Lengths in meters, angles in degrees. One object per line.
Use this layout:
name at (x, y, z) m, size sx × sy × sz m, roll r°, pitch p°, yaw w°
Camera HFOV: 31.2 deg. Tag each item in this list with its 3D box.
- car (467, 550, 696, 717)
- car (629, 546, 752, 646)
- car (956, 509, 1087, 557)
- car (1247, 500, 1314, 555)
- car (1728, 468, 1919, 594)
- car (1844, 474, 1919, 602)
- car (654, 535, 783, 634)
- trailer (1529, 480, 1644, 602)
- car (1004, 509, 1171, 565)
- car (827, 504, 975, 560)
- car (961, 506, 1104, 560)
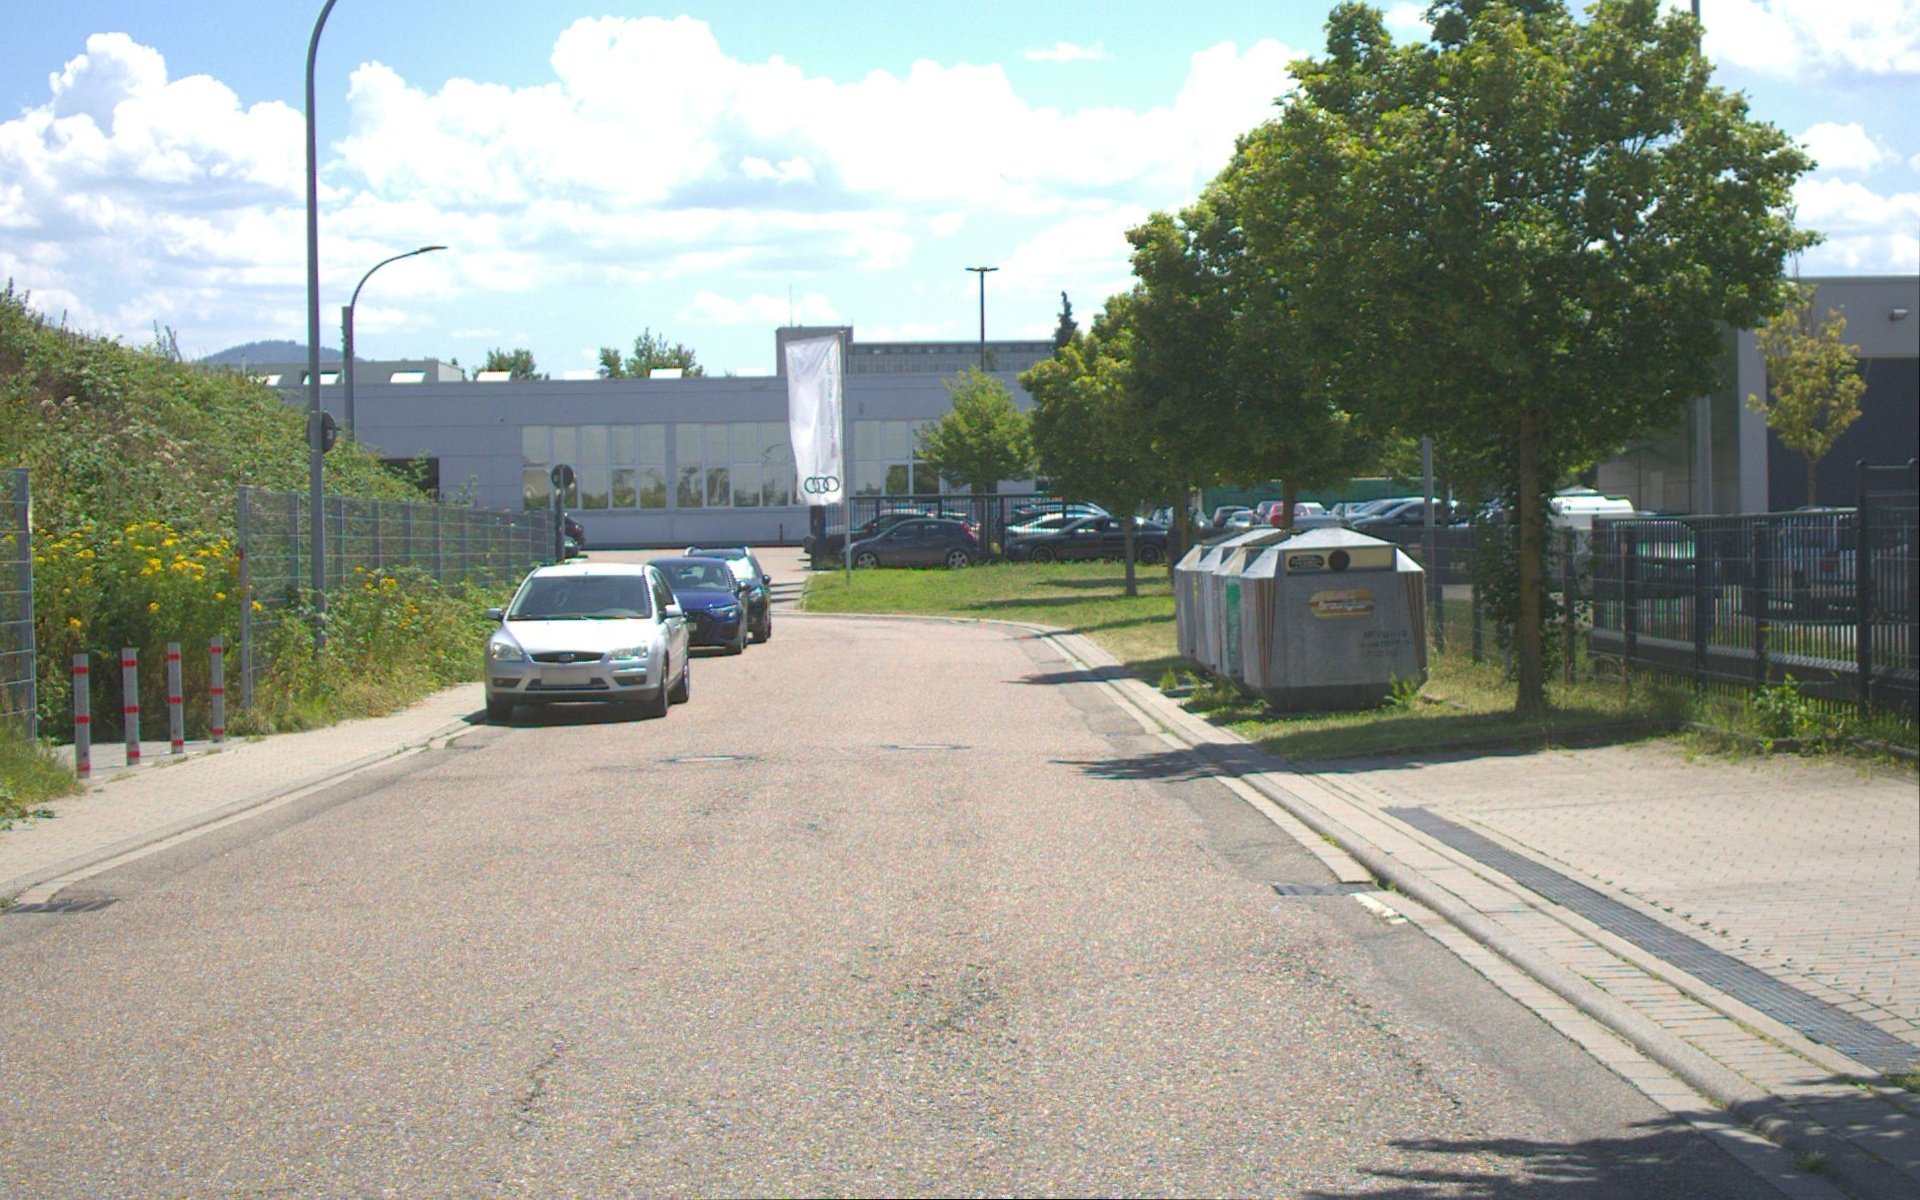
car at (-3.792, 0.292, 35.072) m, size 1.833 × 1.541 × 4.367 m, roll -1°, pitch 1°, yaw 0°
car at (-4.049, -0.089, 52.073) m, size 1.656 × 1.412 × 4.146 m, roll -1°, pitch 1°, yaw -2°
car at (1.905, -2.100, 108.097) m, size 3.986 × 1.393 × 2.000 m, roll -1°, pitch -1°, yaw -2°
car at (11.742, -2.646, 126.251) m, size 1.993 × 1.821 × 4.000 m, roll -1°, pitch -1°, yaw -1°
car at (11.639, -0.954, 45.450) m, size 1.789 × 1.525 × 4.423 m, roll -1°, pitch 3°, yaw -3°
car at (11.803, -0.730, 39.983) m, size 1.789 × 1.428 × 4.143 m, roll -1°, pitch -1°, yaw -3°
car at (-3.982, -0.281, 57.332) m, size 1.833 × 1.541 × 4.265 m, roll -1°, pitch 1°, yaw 0°
trailer at (11.203, -1.084, 61.659) m, size 1.493 × 1.999 × 3.264 m, roll -2°, pitch 4°, yaw 1°
car at (3.476, -1.723, 94.304) m, size 4.437 × 1.393 × 2.000 m, roll -1°, pitch -1°, yaw -2°
car at (-1.633, -1.850, 94.354) m, size 3.986 × 1.393 × 2.000 m, roll -1°, pitch -1°, yaw -2°
car at (2.077, -1.927, 99.284) m, size 3.986 × 1.393 × 2.000 m, roll -1°, pitch -1°, yaw -2°
